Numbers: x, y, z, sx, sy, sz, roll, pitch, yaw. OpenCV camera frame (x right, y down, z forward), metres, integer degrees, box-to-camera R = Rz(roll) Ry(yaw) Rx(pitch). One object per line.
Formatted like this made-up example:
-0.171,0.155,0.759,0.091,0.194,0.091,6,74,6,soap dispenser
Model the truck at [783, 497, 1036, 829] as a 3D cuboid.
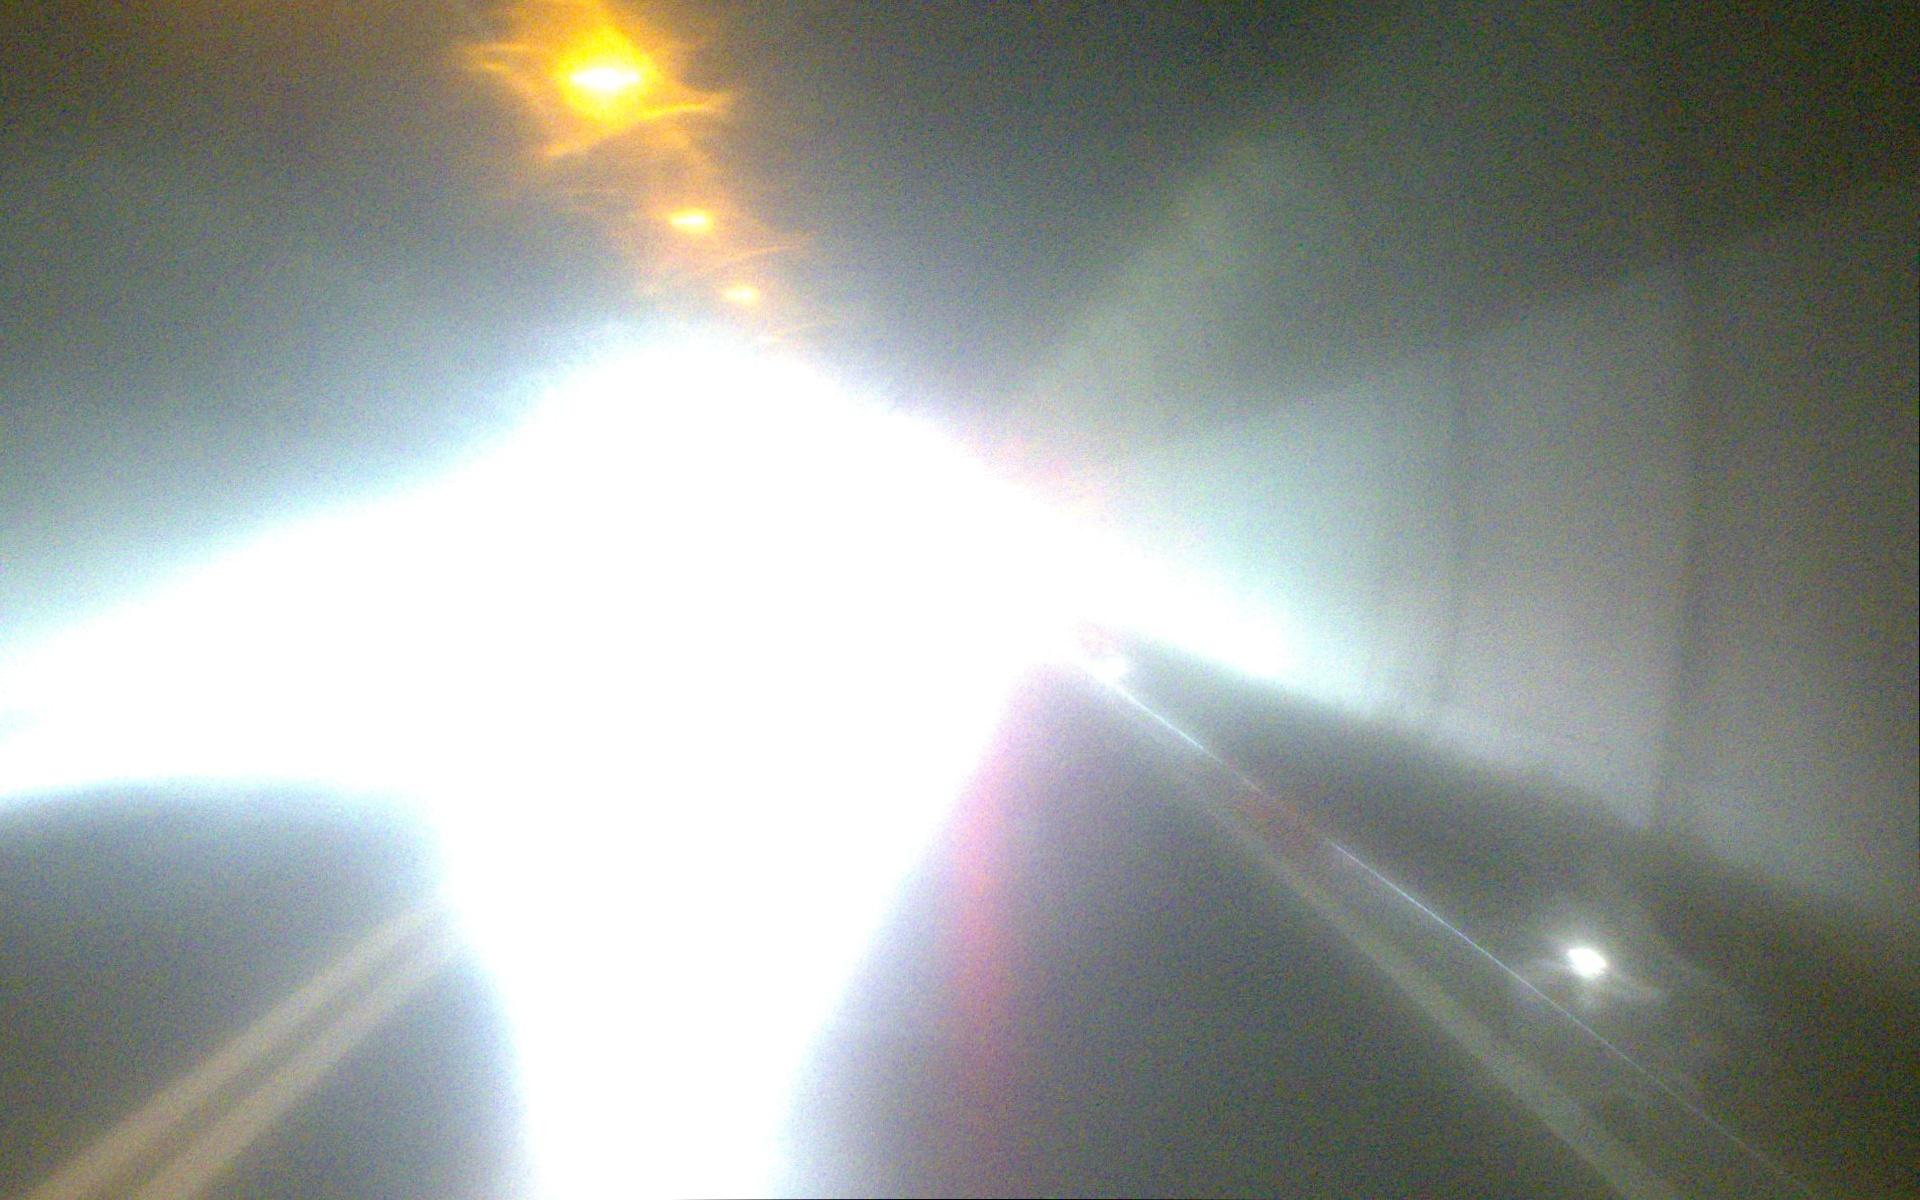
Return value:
-0.510,0.516,35.045,2.262,3.000,7.415,-1,1,-1,truck
